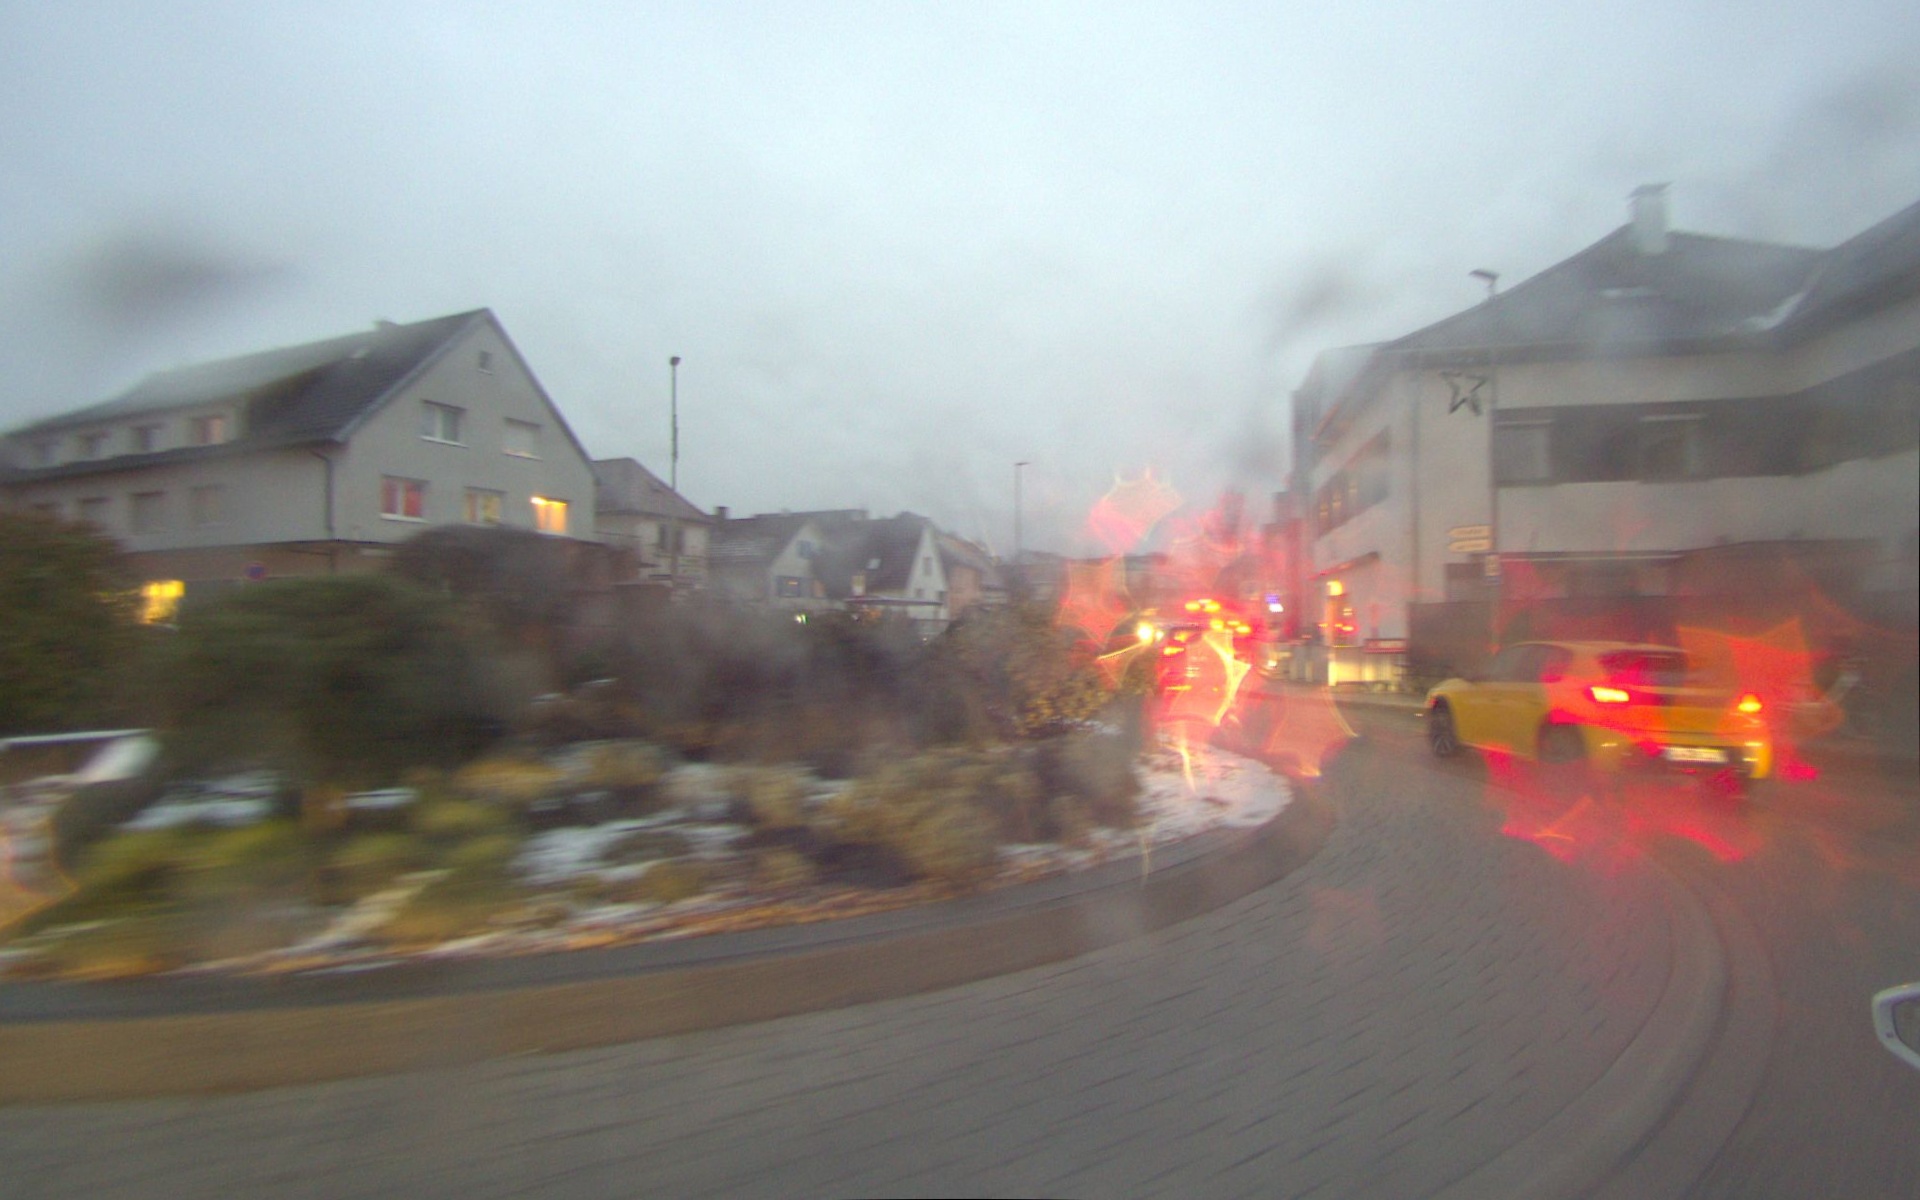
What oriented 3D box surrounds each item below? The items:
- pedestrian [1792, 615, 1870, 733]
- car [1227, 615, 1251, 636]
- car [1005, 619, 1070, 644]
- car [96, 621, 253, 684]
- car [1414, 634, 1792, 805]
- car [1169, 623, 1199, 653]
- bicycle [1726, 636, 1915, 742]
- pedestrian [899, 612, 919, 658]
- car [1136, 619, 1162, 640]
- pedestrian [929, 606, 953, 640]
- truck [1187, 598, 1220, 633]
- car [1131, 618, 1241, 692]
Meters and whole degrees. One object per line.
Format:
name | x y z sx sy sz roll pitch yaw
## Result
pedestrian | 12.162 1.005 14.033 0.603 1.585 0.685 -1 0 -33
car | 20.481 1.866 73.652 1.662 1.487 3.720 0 0 16
car | 5.361 2.125 69.100 4.234 1.662 1.847 0 0 11
car | -21.795 1.409 27.894 3.826 1.658 1.651 -1 -1 20
car | 6.499 1.107 10.759 1.681 1.440 4.015 1 -2 4
car | 13.483 2.261 60.408 1.692 1.653 4.002 0 -1 13
bicycle | 11.917 1.187 13.984 0.545 1.313 1.926 -2 0 -31
pedestrian | -2.022 1.384 39.879 0.717 1.842 0.530 0 -1 -8
car | 14.655 2.257 77.694 1.711 1.589 4.064 0 -1 15
pedestrian | -0.763 0.926 40.891 0.770 1.366 0.717 0 -1 15
truck | 21.822 1.375 89.921 2.669 3.050 5.994 0 -1 16
car | 5.390 1.262 24.473 1.884 1.637 3.951 0 0 1
